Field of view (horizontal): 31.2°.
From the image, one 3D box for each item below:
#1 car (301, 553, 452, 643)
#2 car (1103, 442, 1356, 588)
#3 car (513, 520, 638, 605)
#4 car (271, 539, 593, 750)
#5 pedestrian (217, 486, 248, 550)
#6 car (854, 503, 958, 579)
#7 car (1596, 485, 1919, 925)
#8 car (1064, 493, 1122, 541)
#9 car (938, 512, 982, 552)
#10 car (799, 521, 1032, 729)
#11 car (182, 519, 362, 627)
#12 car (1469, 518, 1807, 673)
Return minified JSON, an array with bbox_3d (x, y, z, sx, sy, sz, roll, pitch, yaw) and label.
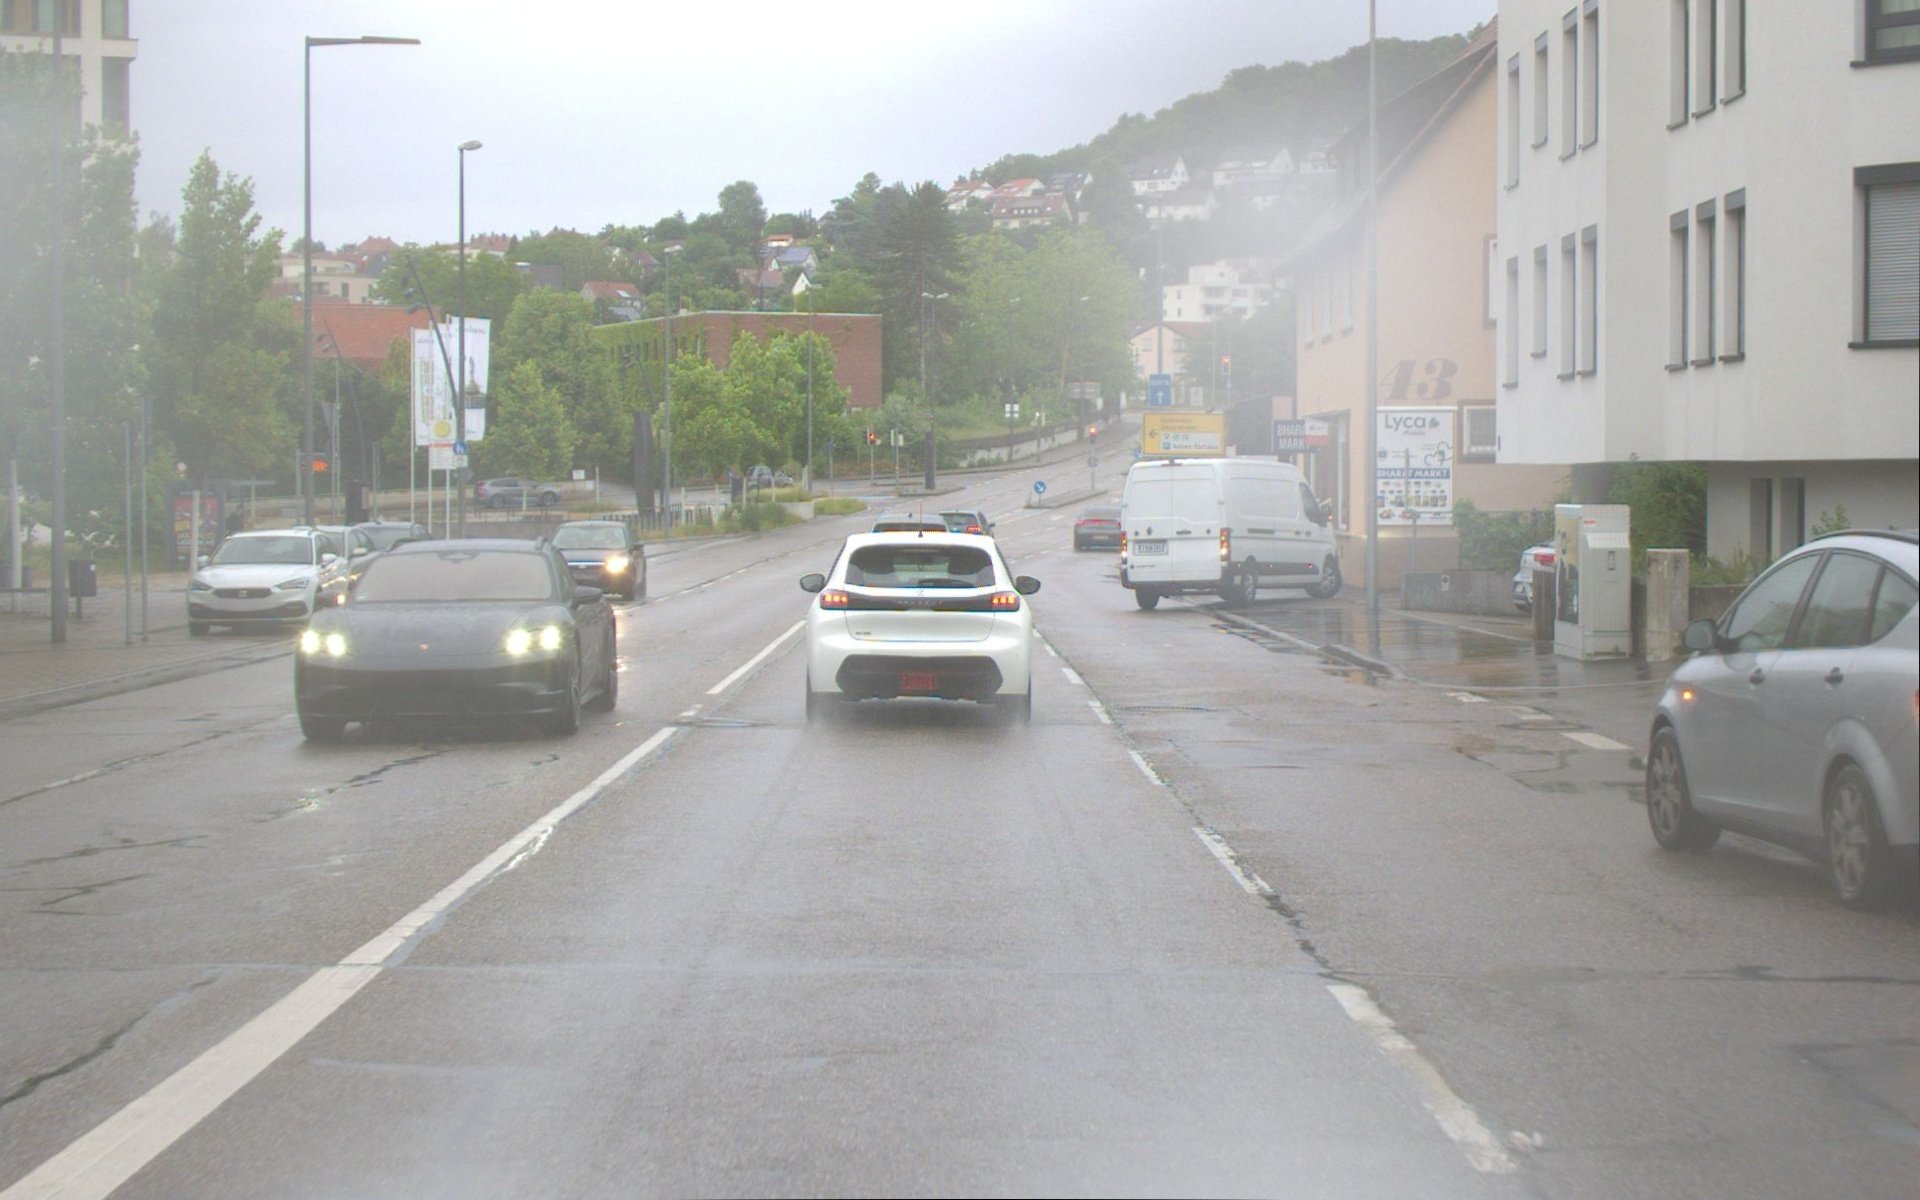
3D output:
[{"bbox_3d":[-10.251,-0.048,60.712,1.691,1.505,4.577,-1,0,2],"label":"car"},{"bbox_3d":[4.797,-1.439,60.069,2.294,2.374,6.617,-1,0,24],"label":"car"},{"bbox_3d":[-7.159,-0.692,64.347,1.880,1.518,4.184,-1,0,0],"label":"car"},{"bbox_3d":[-3.837,0.291,25.676,1.768,1.409,4.526,-1,0,-1],"label":"car"},{"bbox_3d":[-19.925,-2.240,94.191,0.782,1.739,0.674,-1,0,-14],"label":"pedestrian"},{"bbox_3d":[-0.932,-1.057,60.816,1.741,1.291,3.334,-1,1,1],"label":"car"},{"bbox_3d":[4.255,0.419,14.874,2.011,1.616,4.361,1,-1,-3],"label":"car"},{"bbox_3d":[4.421,-2.782,114.672,1.734,1.383,3.353,1,5,-1],"label":"car"},{"bbox_3d":[0.003,-2.034,103.473,1.212,1.152,2.270,0,0,-3],"label":"car"},{"bbox_3d":[-0.323,0.179,27.020,1.691,1.514,3.933,0,0,0],"label":"car"},{"bbox_3d":[-9.670,-0.380,48.600,1.795,1.457,4.479,0,0,-2],"label":"car"},{"bbox_3d":[8.636,-0.073,44.005,3.791,1.524,1.820,6,2,-1],"label":"car"}]
